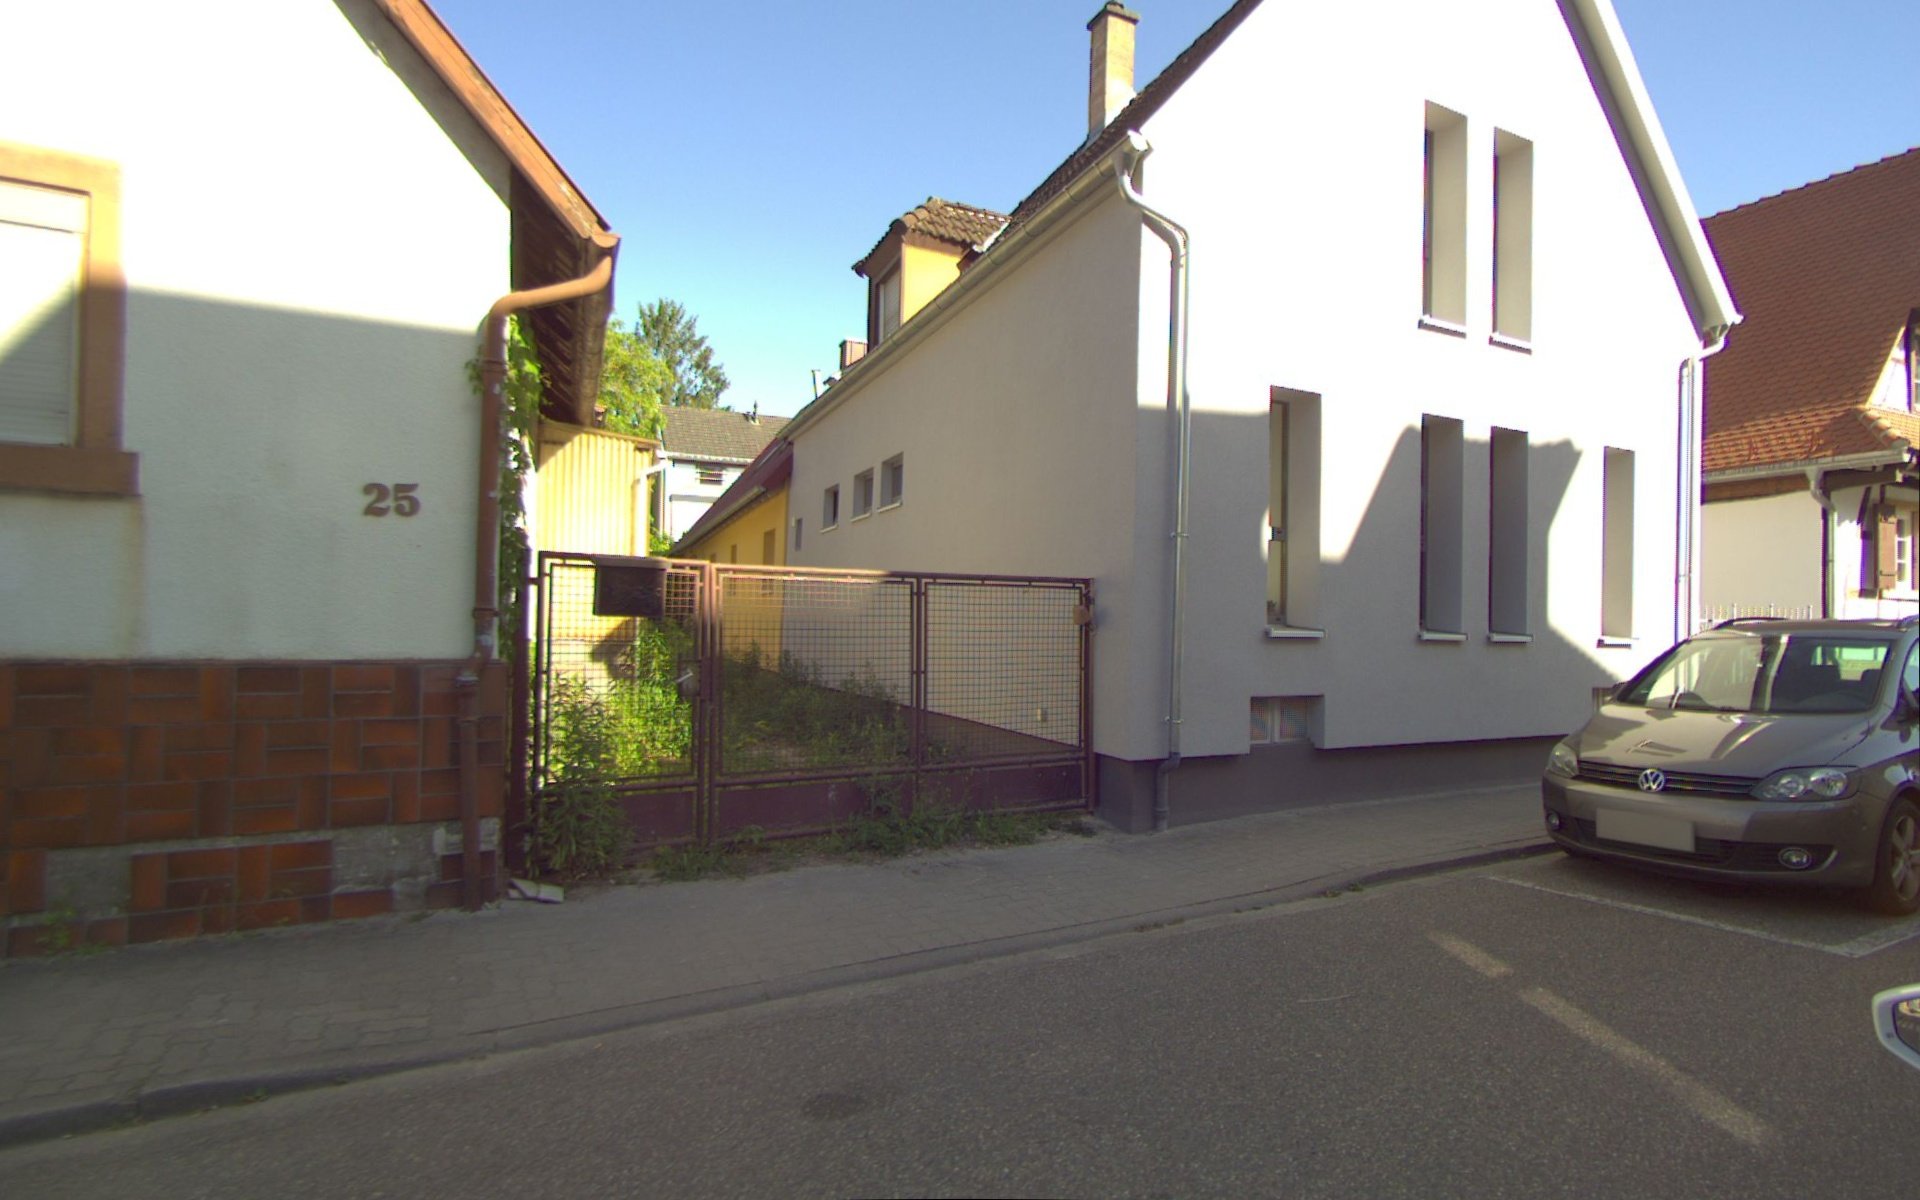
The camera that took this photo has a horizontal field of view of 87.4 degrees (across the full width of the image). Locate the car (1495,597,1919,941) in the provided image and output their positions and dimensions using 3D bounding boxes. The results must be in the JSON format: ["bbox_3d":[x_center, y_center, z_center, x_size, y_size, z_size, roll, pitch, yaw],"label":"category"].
[{"bbox_3d":[5.479,0.882,6.551,3.954,1.635,1.734,2,-2,-31],"label":"car"}]

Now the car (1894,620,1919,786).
[{"bbox_3d":[11.338,1.046,9.972,4.116,1.587,1.809,2,-2,-28],"label":"car"}]
